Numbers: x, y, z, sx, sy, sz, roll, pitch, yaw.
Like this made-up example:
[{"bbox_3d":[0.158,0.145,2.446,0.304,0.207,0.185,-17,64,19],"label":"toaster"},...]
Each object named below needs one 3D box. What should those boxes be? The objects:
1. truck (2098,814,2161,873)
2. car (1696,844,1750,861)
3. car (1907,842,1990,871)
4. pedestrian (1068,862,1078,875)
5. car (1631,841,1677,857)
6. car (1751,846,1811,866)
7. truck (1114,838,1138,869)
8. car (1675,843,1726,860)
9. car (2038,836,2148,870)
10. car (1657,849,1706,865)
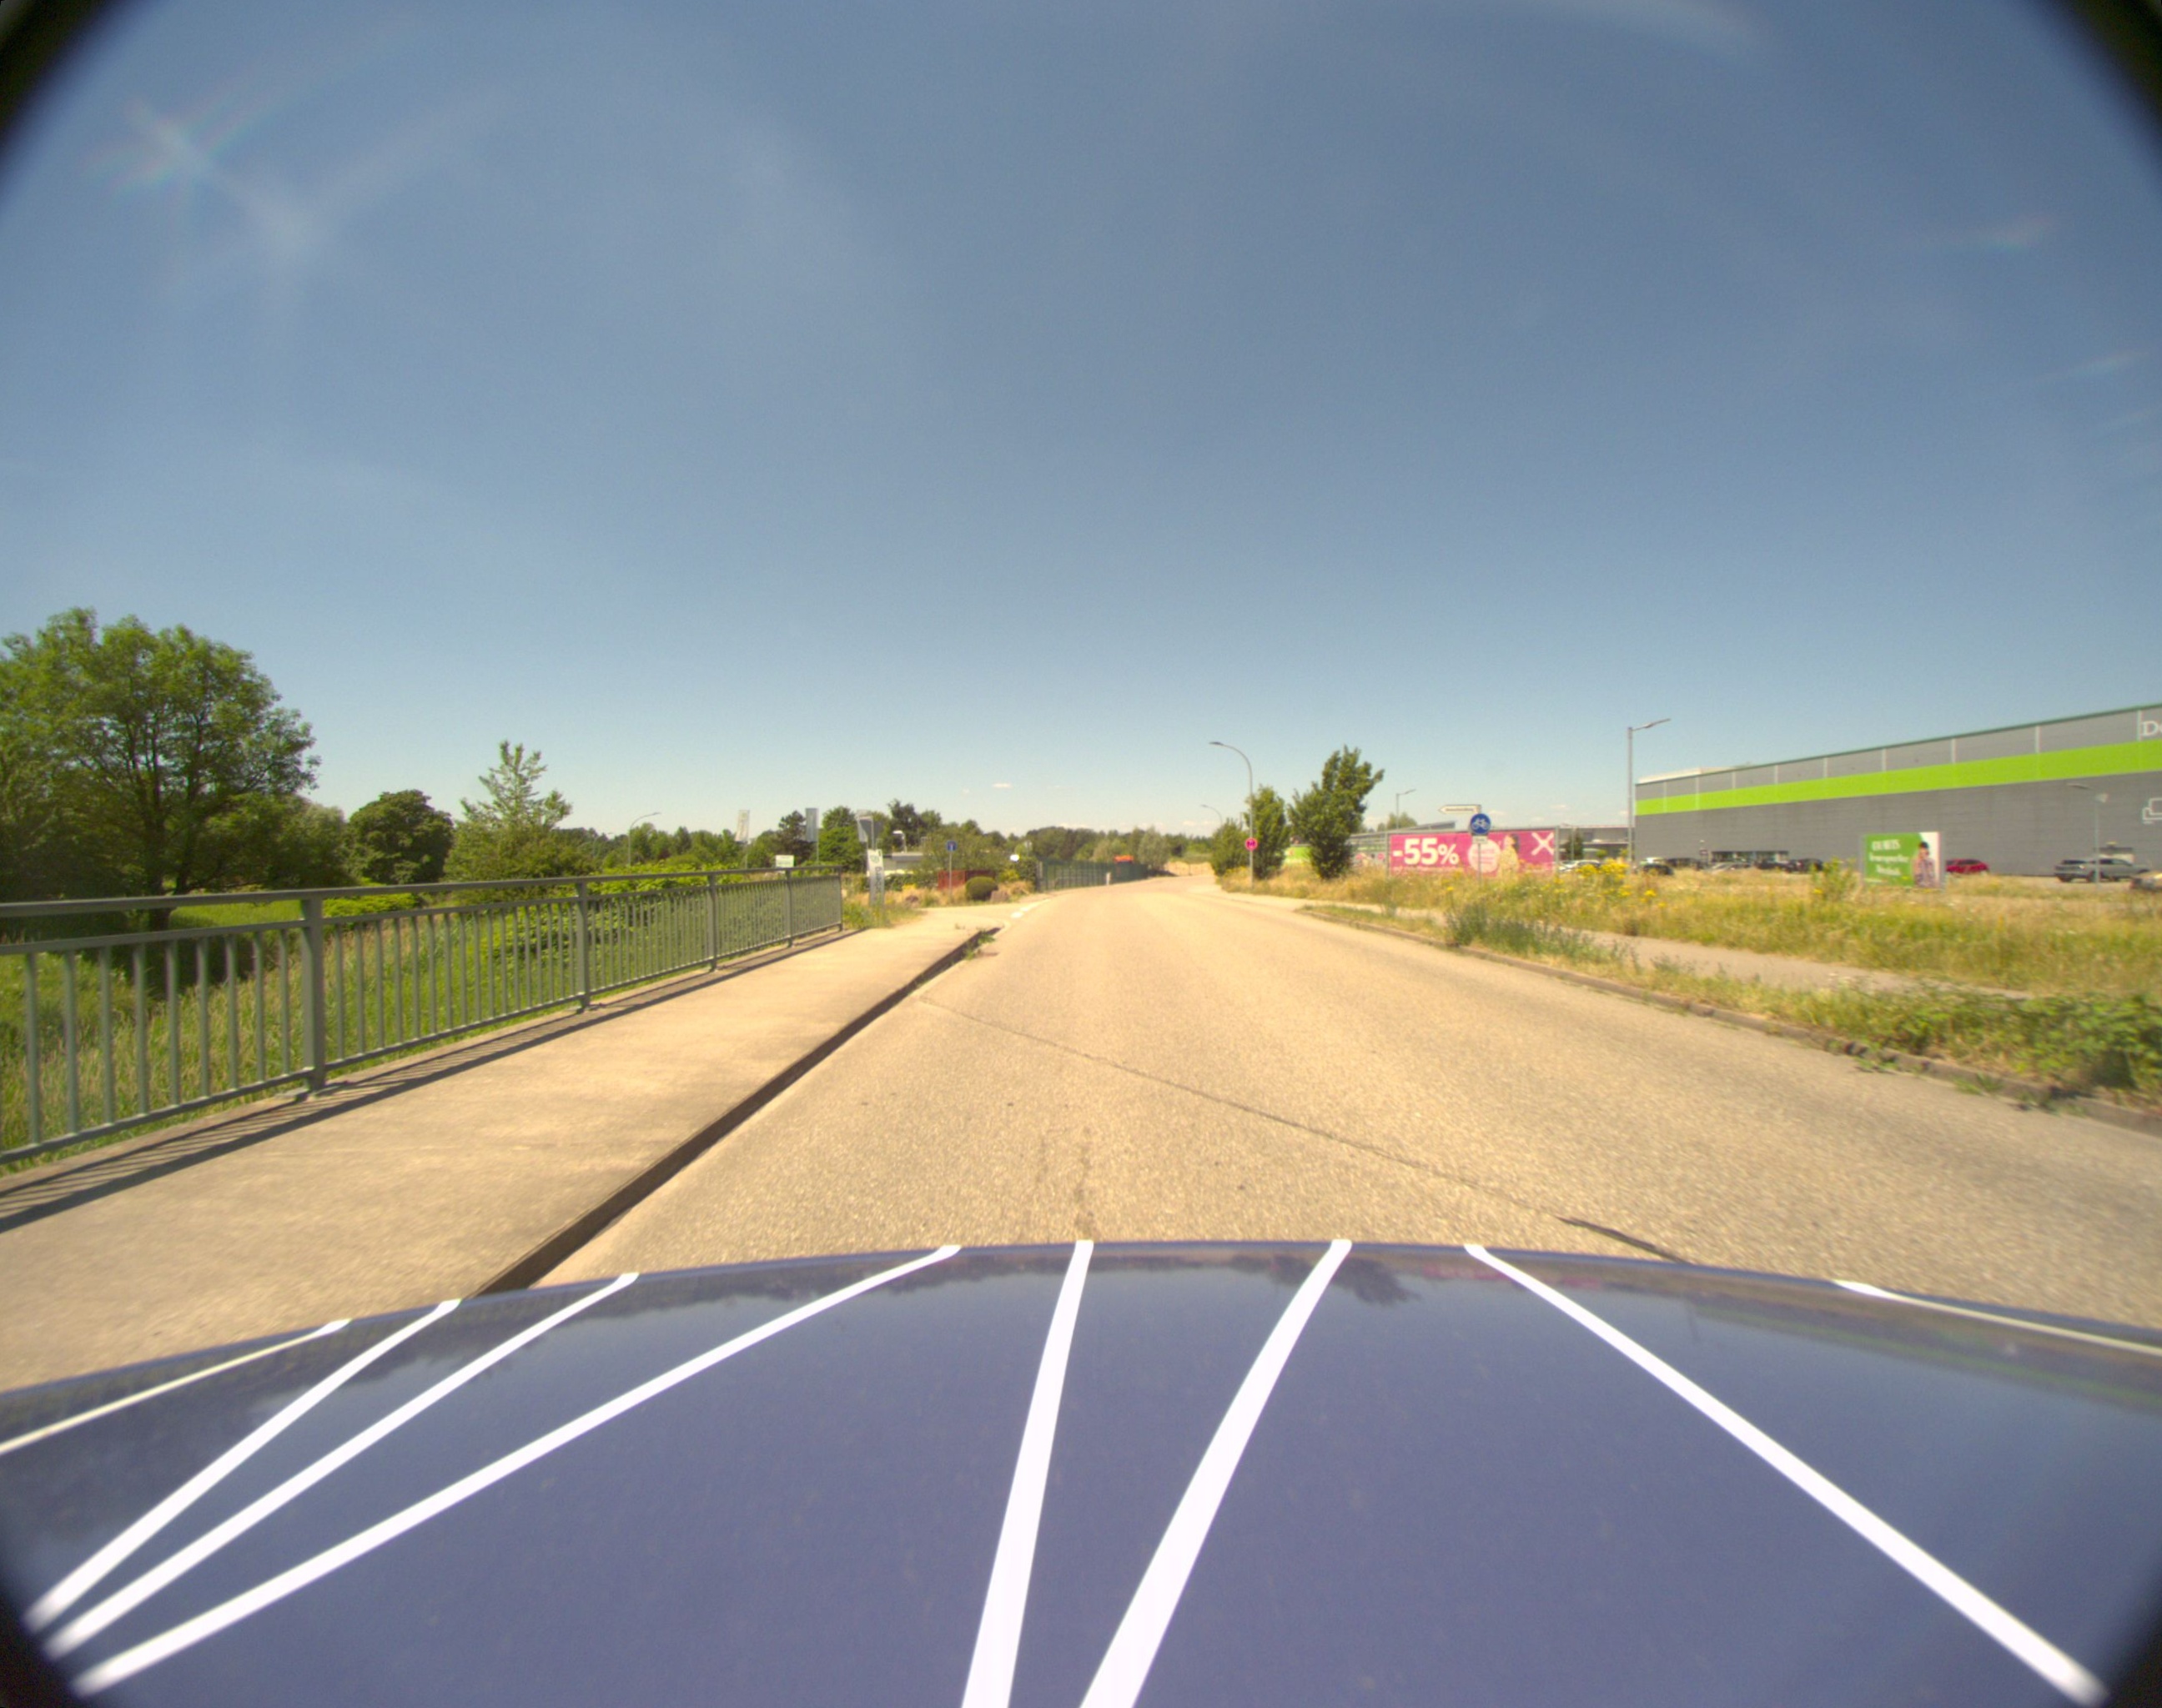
[{"bbox_3d":[52.407,-0.566,33.969,7.756,2.668,2.968,-2,-1,39],"label":"truck"},{"bbox_3d":[69.535,-0.182,82.373,3.995,1.729,2.001,-2,1,6],"label":"car"},{"bbox_3d":[67.745,0.199,59.396,3.994,2.002,1.912,-2,0,8],"label":"car"},{"bbox_3d":[-1.191,2.224,117.286,1.304,2.001,1.217,-2,-1,9],"label":"pedestrian"},{"bbox_3d":[69.991,-0.615,92.869,3.995,1.729,2.001,-2,1,6],"label":"car"},{"bbox_3d":[69.689,0.183,75.660,3.995,1.729,2.001,-2,1,6],"label":"car"},{"bbox_3d":[6.637,-0.009,111.387,2.845,4.171,8.138,-2,-1,7],"label":"truck"},{"bbox_3d":[69.818,-0.240,85.692,3.995,1.729,2.001,-2,1,6],"label":"car"},{"bbox_3d":[66.387,-0.070,49.928,3.994,2.002,2.002,-2,0,11],"label":"car"},{"bbox_3d":[70.015,0.337,88.659,3.995,1.729,2.001,-2,1,6],"label":"car"}]
